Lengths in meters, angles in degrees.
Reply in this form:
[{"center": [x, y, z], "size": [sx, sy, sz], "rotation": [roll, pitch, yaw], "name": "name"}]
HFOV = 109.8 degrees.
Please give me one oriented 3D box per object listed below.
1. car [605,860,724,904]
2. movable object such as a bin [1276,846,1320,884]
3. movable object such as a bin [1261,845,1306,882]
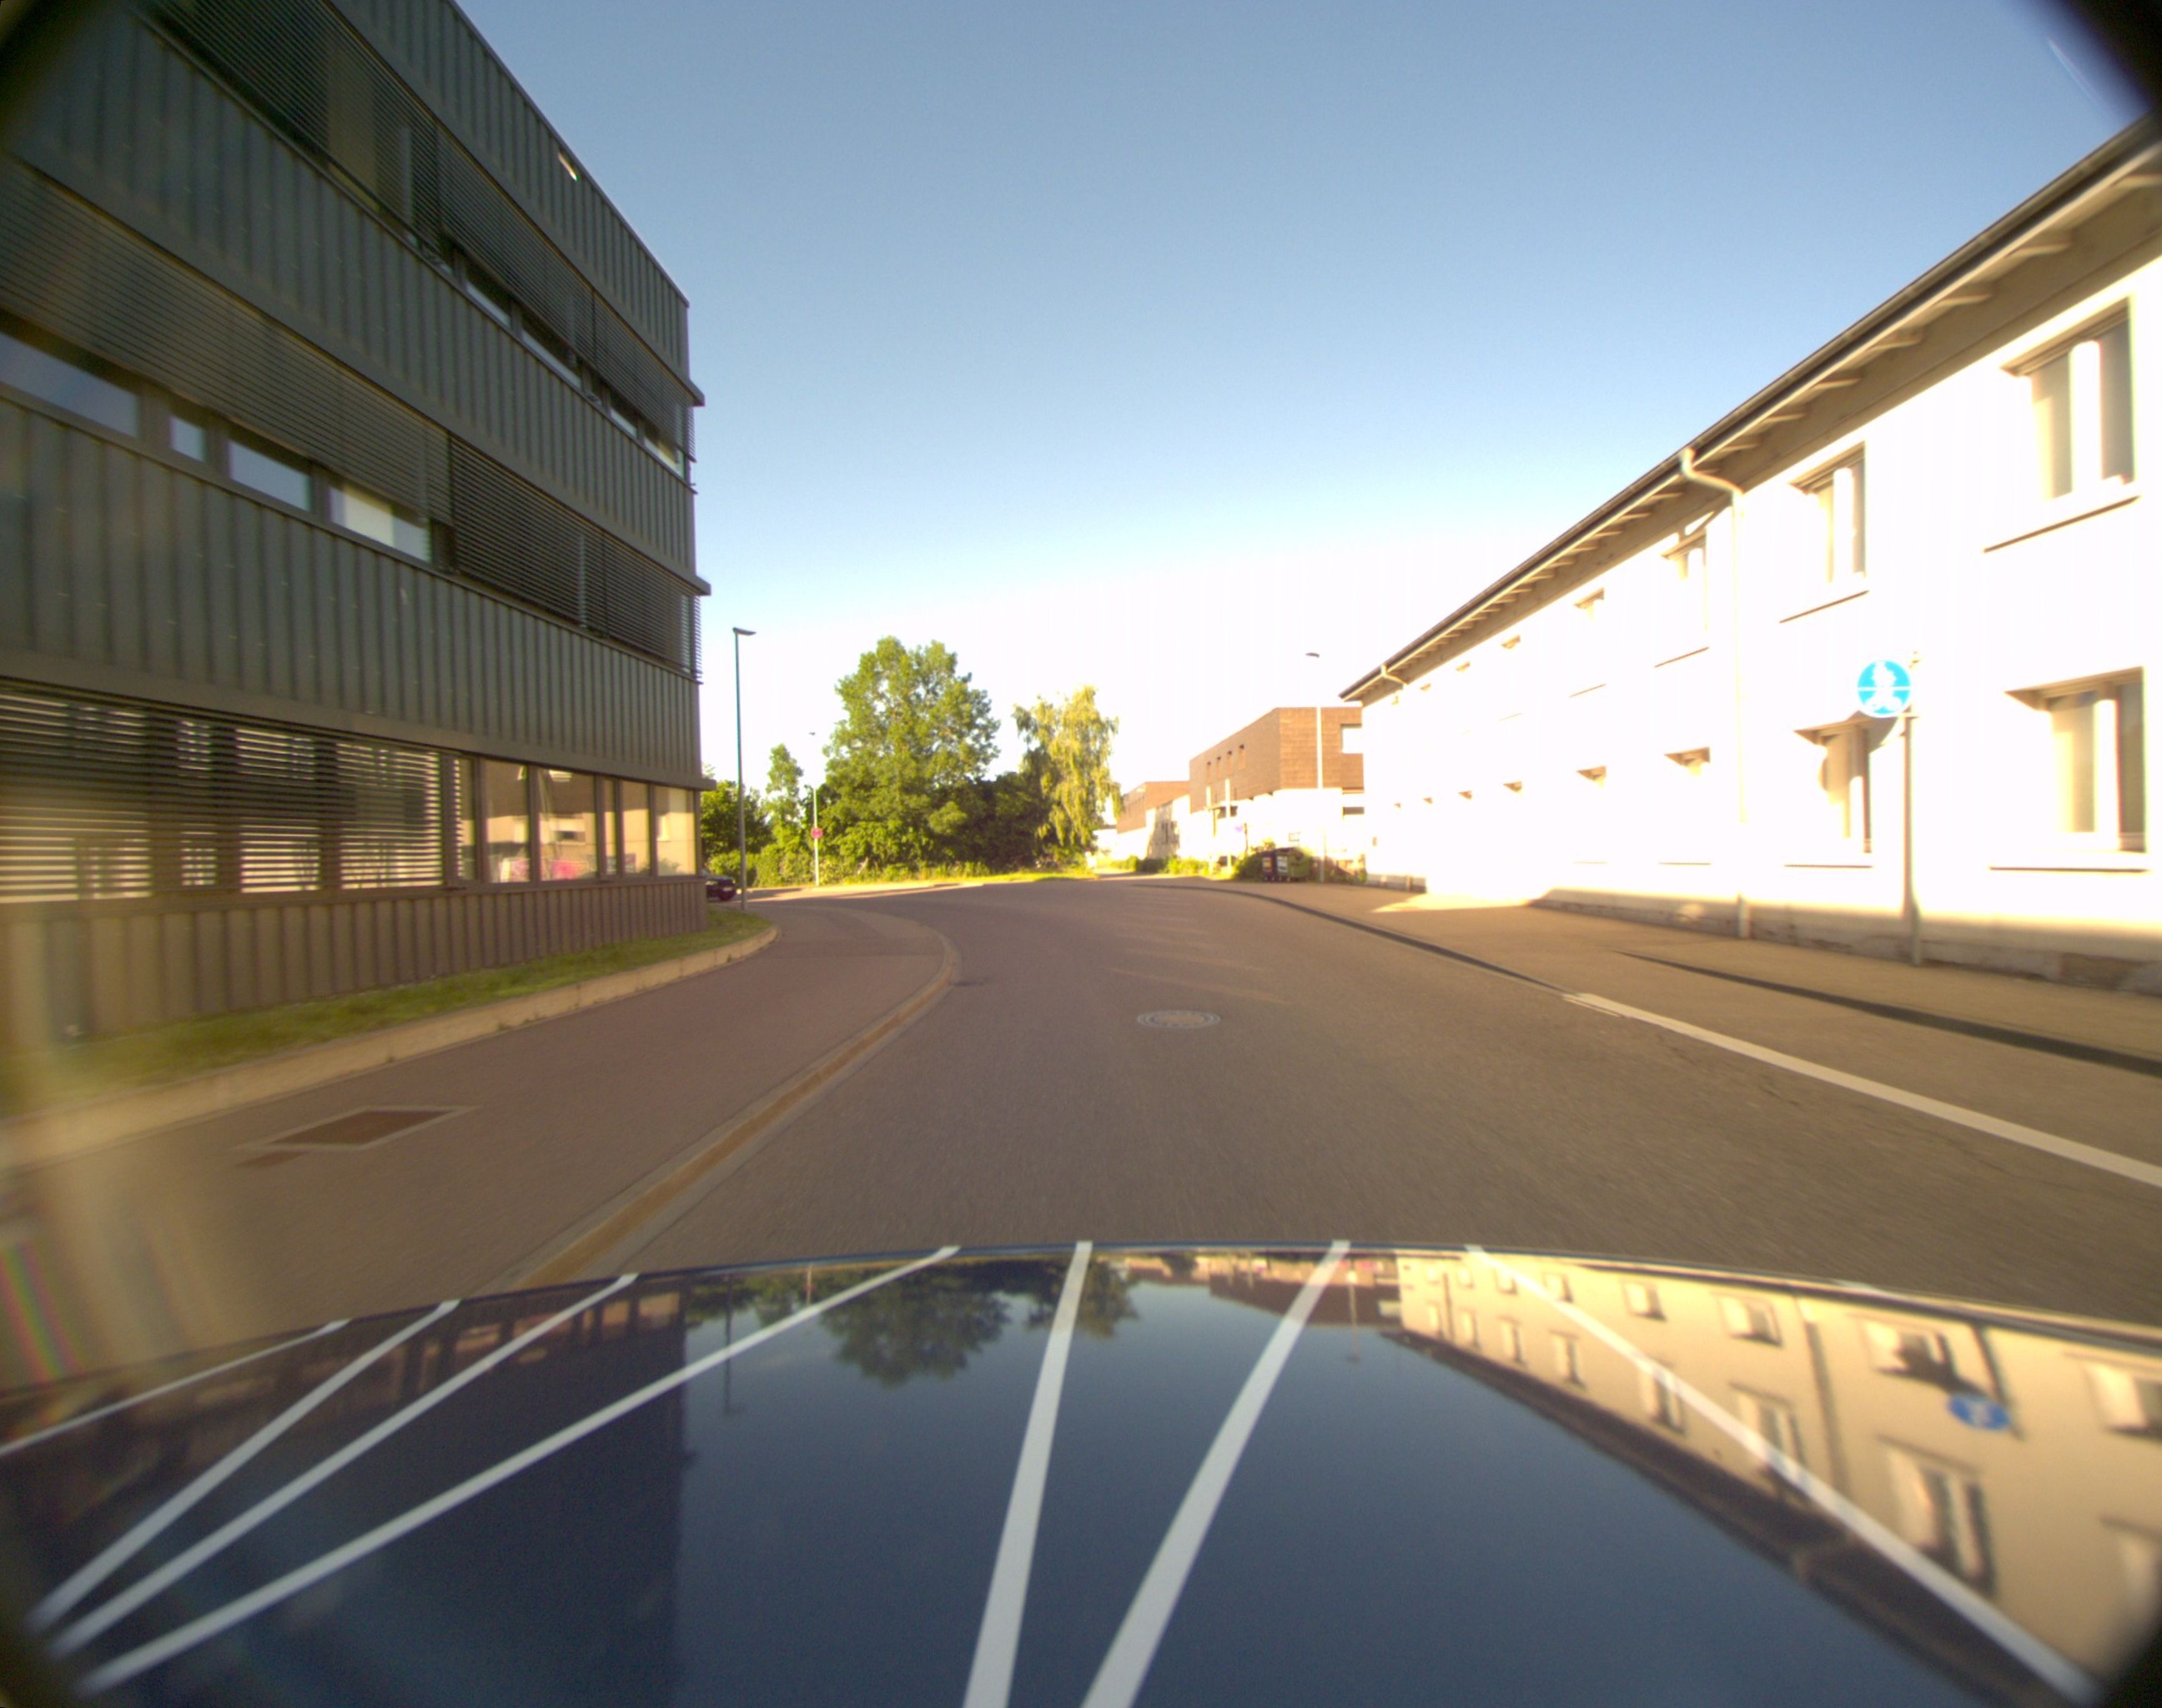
[{"center": [-17.199, 1.129, 31.344], "size": [4.601, 1.623, 2.042], "rotation": [-1, 1, 28], "name": "car"}, {"center": [8.651, 0.422, 30.313], "size": [1.202, 1.463, 1.372], "rotation": [-2, 1, -9], "name": "movable object such as a bin"}, {"center": [8.439, 0.388, 31.680], "size": [1.365, 1.463, 1.288], "rotation": [-2, 1, -9], "name": "movable object such as a bin"}]
